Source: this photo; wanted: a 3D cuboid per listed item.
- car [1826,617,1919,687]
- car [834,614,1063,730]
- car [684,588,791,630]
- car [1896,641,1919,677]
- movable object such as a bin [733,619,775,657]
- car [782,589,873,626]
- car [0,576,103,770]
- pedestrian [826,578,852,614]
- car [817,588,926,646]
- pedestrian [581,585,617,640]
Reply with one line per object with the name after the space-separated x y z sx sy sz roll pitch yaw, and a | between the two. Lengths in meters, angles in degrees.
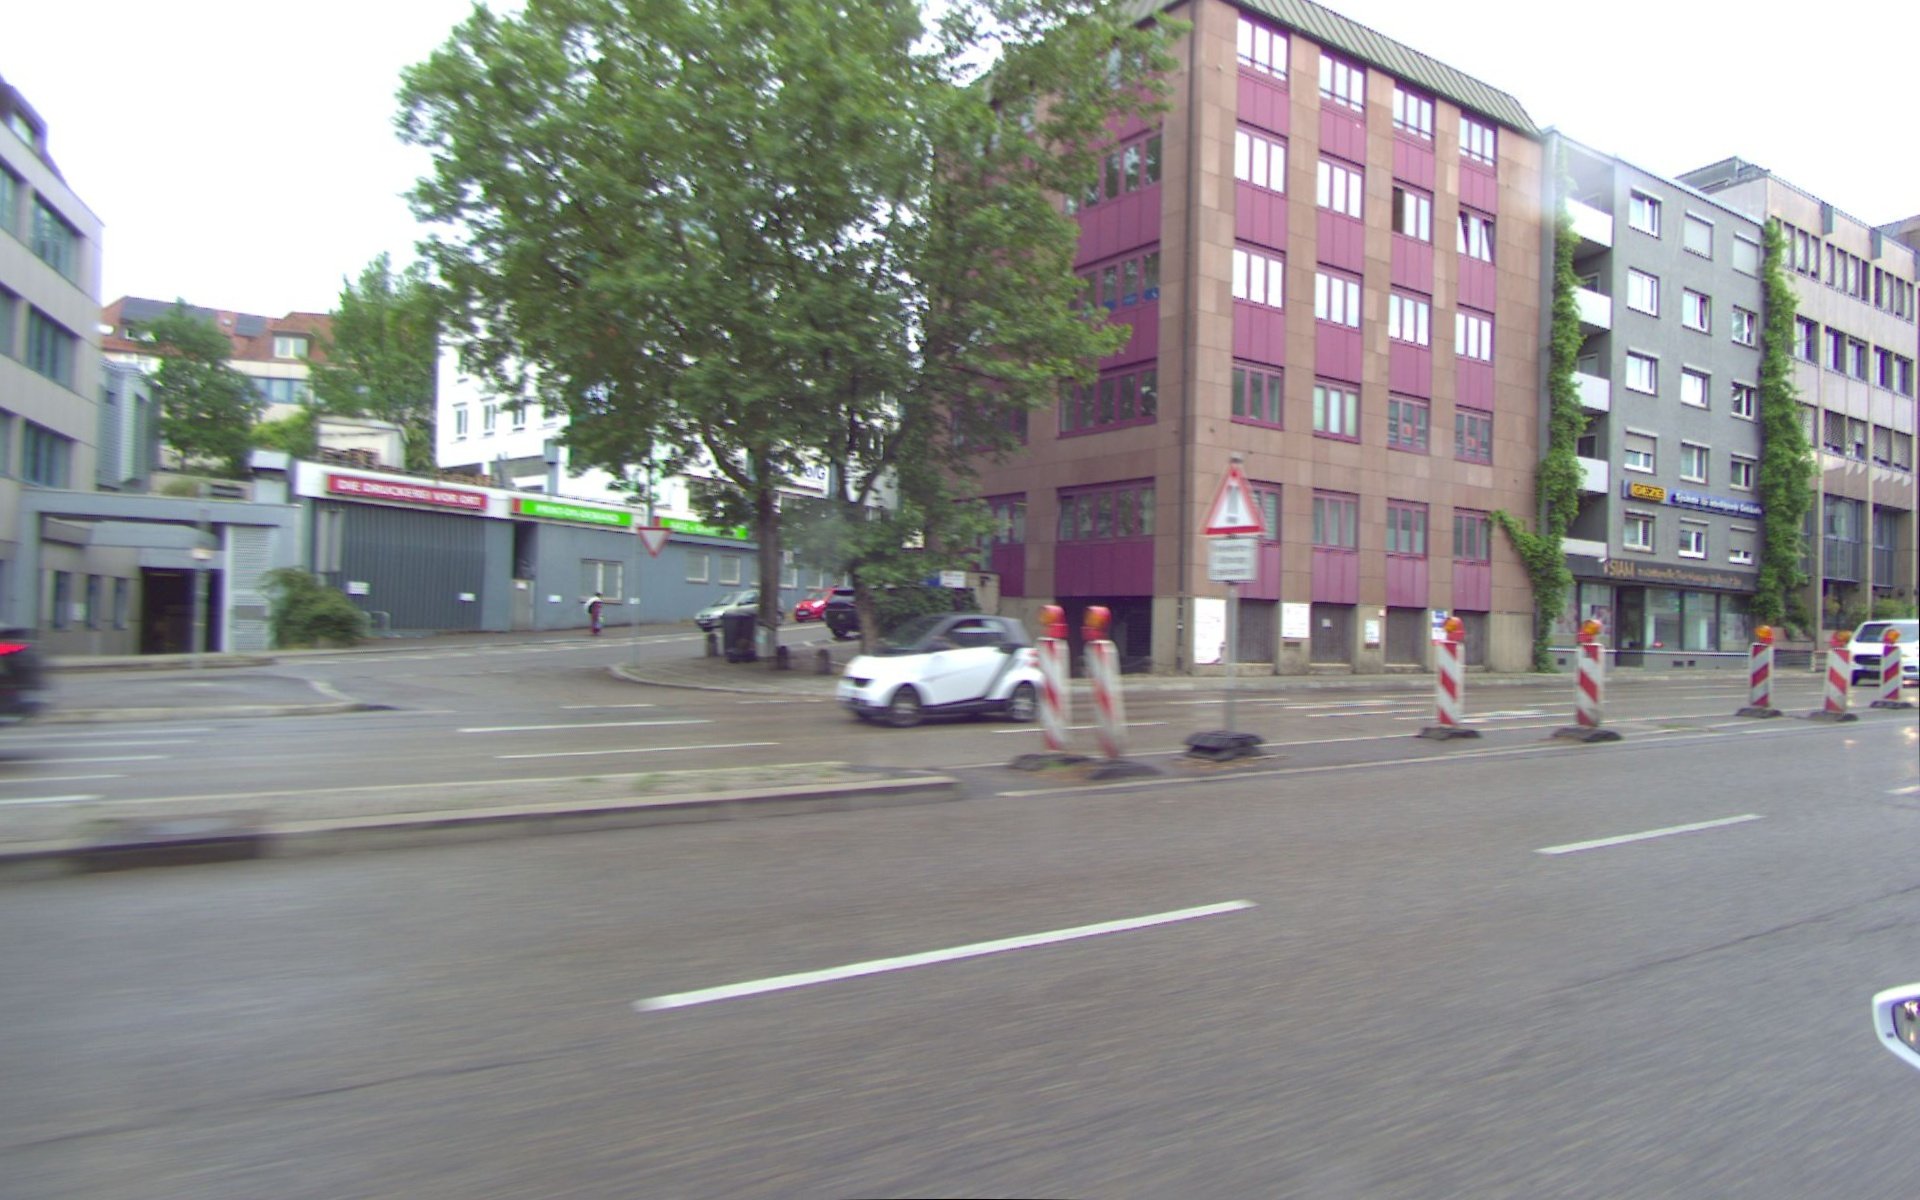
29.258 1.602 31.178 5.226 2.016 1.985 2 -2 -30 | car
-0.165 0.983 14.389 2.911 1.504 1.550 1 -2 -28 | car
-9.116 0.342 41.454 1.808 1.483 4.162 -1 2 35 | car
39.949 2.411 40.752 3.970 1.417 1.692 2 -2 -28 | car
-5.484 1.011 26.732 0.773 1.009 0.875 0 -2 15 | movable object such as a bin
-6.025 0.332 46.024 1.809 1.450 4.054 -1 2 37 | car
-10.708 0.627 8.530 4.880 1.699 1.984 1 -2 -31 | car
-6.077 -0.185 50.321 0.827 1.740 0.979 -1 -2 34 | pedestrian
-3.051 0.555 35.454 1.902 1.893 3.993 2 1 29 | car
-13.873 0.493 38.602 0.827 2.040 0.979 -1 -2 34 | pedestrian
